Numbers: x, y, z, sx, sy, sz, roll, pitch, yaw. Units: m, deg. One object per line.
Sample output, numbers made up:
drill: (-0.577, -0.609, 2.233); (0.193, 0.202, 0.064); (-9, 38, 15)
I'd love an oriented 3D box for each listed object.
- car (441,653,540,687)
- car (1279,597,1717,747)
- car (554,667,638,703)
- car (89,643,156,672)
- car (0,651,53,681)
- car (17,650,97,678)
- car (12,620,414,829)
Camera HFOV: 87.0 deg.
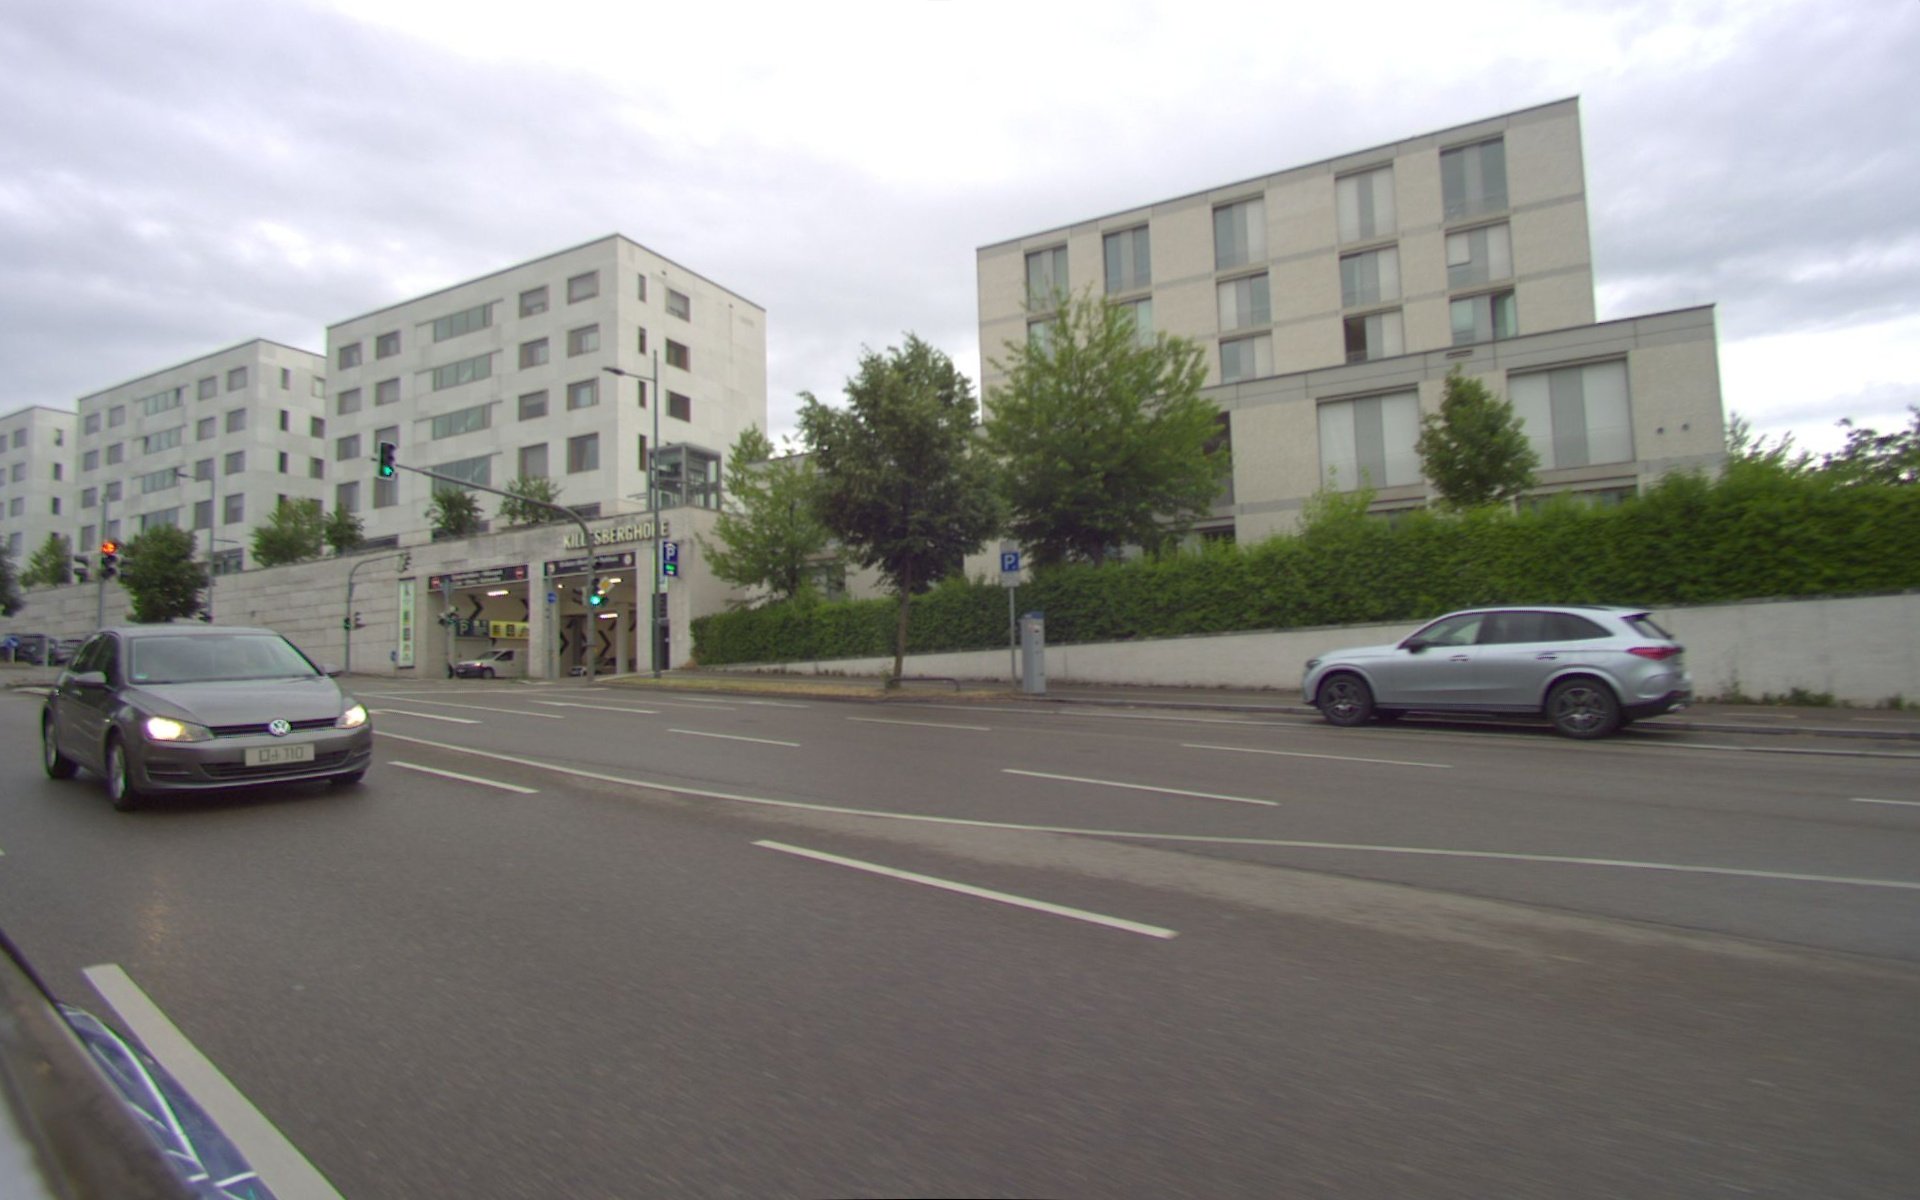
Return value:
car: (-23.838, 3.545, 51.544); (1.988, 1.664, 4.309); (-1, -4, 25)
car: (7.001, 0.897, 13.594); (4.883, 1.666, 1.745); (-3, -2, 43)
car: (-19.105, 4.420, 53.225); (1.792, 1.785, 3.961); (-1, -4, 28)
car: (-43.981, 3.033, 53.134); (2.681, 1.470, 1.667); (-1, -4, 25)
car: (-53.649, 3.719, 57.448); (3.978, 1.644, 1.775); (-1, -4, 26)
car: (-49.489, 3.508, 55.455); (3.977, 1.489, 1.847); (-2, -4, 26)
car: (-6.858, 0.965, 9.139); (4.291, 1.452, 1.853); (-2, -4, 39)
